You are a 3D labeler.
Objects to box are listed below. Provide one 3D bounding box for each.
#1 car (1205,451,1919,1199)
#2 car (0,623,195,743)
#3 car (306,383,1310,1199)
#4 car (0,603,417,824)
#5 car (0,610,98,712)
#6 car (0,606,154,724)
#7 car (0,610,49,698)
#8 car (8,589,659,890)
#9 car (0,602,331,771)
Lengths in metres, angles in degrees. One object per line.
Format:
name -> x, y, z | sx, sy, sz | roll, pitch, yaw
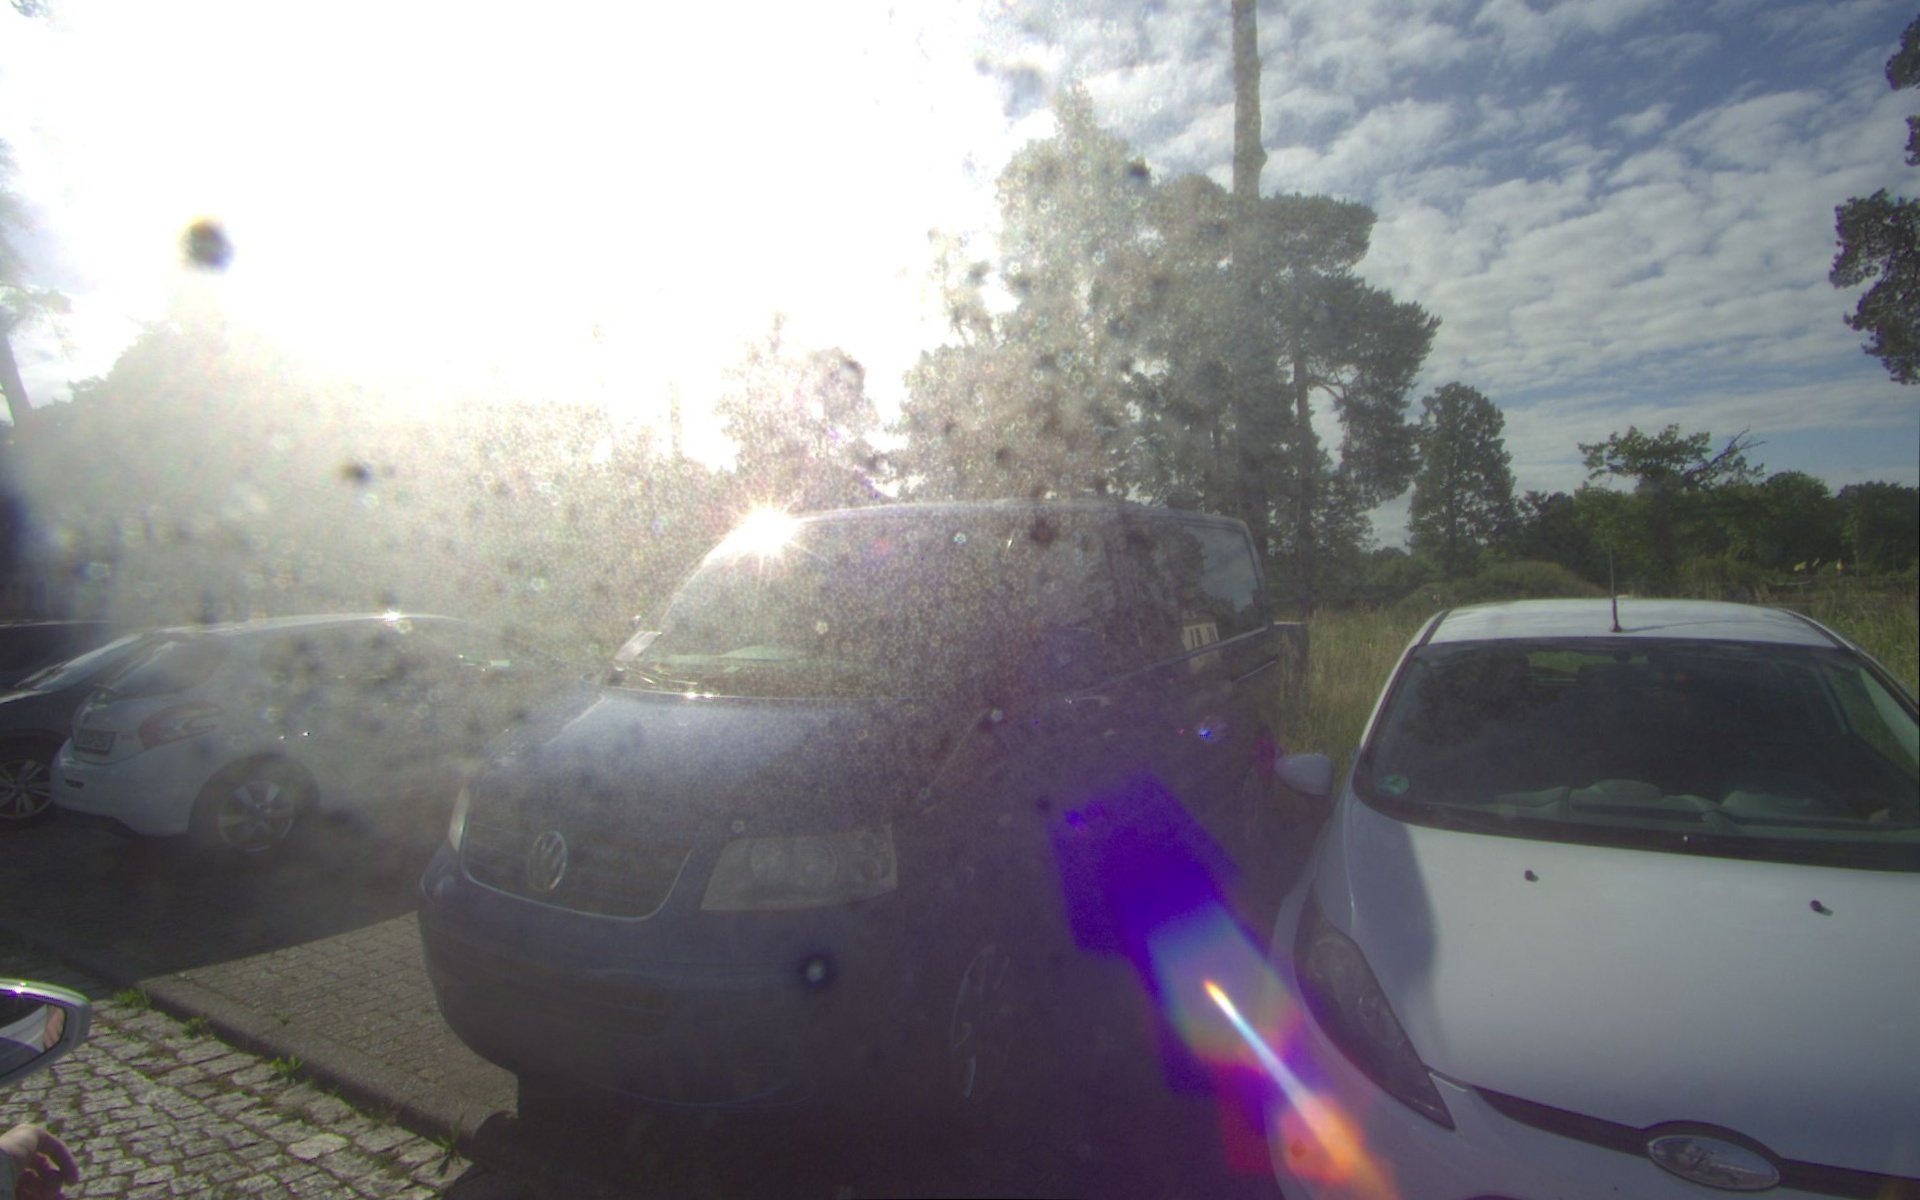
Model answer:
car -> 2.503, 0.498, 3.627 | 1.911, 1.598, 4.388 | -1, 1, 31
car -> -11.472, 0.987, 11.645 | 1.721, 1.240, 3.698 | 0, 2, 32
car -> 0.068, 0.487, 4.583 | 1.971, 1.961, 4.688 | -1, 1, 31
car -> -7.019, 0.830, 8.594 | 1.829, 1.469, 3.698 | 0, 2, 32
car -> -15.205, 0.942, 14.009 | 1.755, 1.434, 4.421 | 0, 2, 32
car -> -13.375, 0.893, 13.067 | 1.613, 1.469, 4.117 | 0, 2, 32
car -> -17.406, 0.962, 15.539 | 1.613, 1.434, 4.548 | 0, 2, 32
car -> -4.303, 0.747, 7.469 | 1.736, 1.555, 3.698 | 0, 2, 32
car -> -9.102, 0.822, 10.606 | 1.790, 1.469, 3.699 | 0, 2, 31
